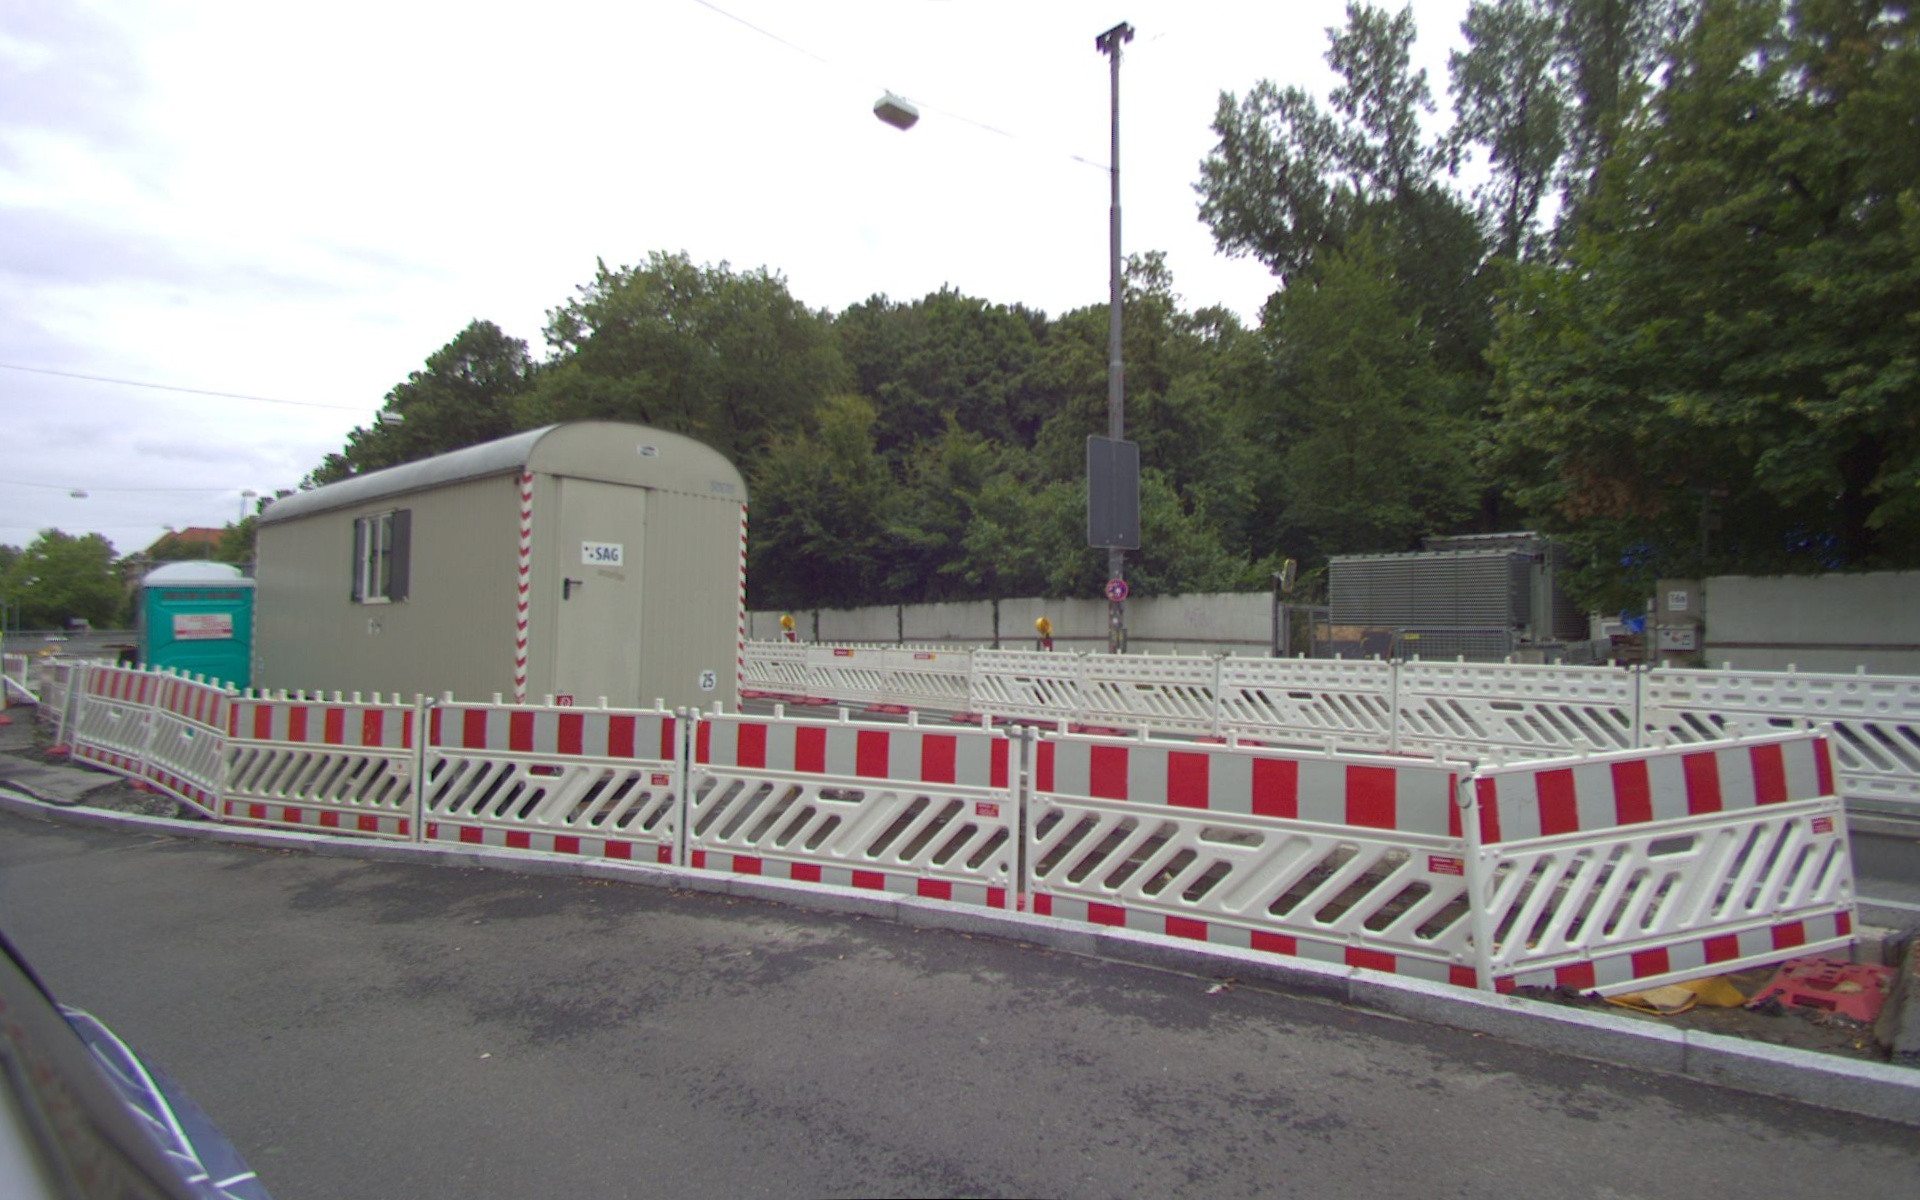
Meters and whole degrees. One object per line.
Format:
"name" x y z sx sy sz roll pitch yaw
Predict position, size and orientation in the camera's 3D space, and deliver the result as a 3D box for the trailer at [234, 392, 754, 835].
"trailer" -5.391 0.195 10.803 7.516 3.268 2.203 -2 -2 42
